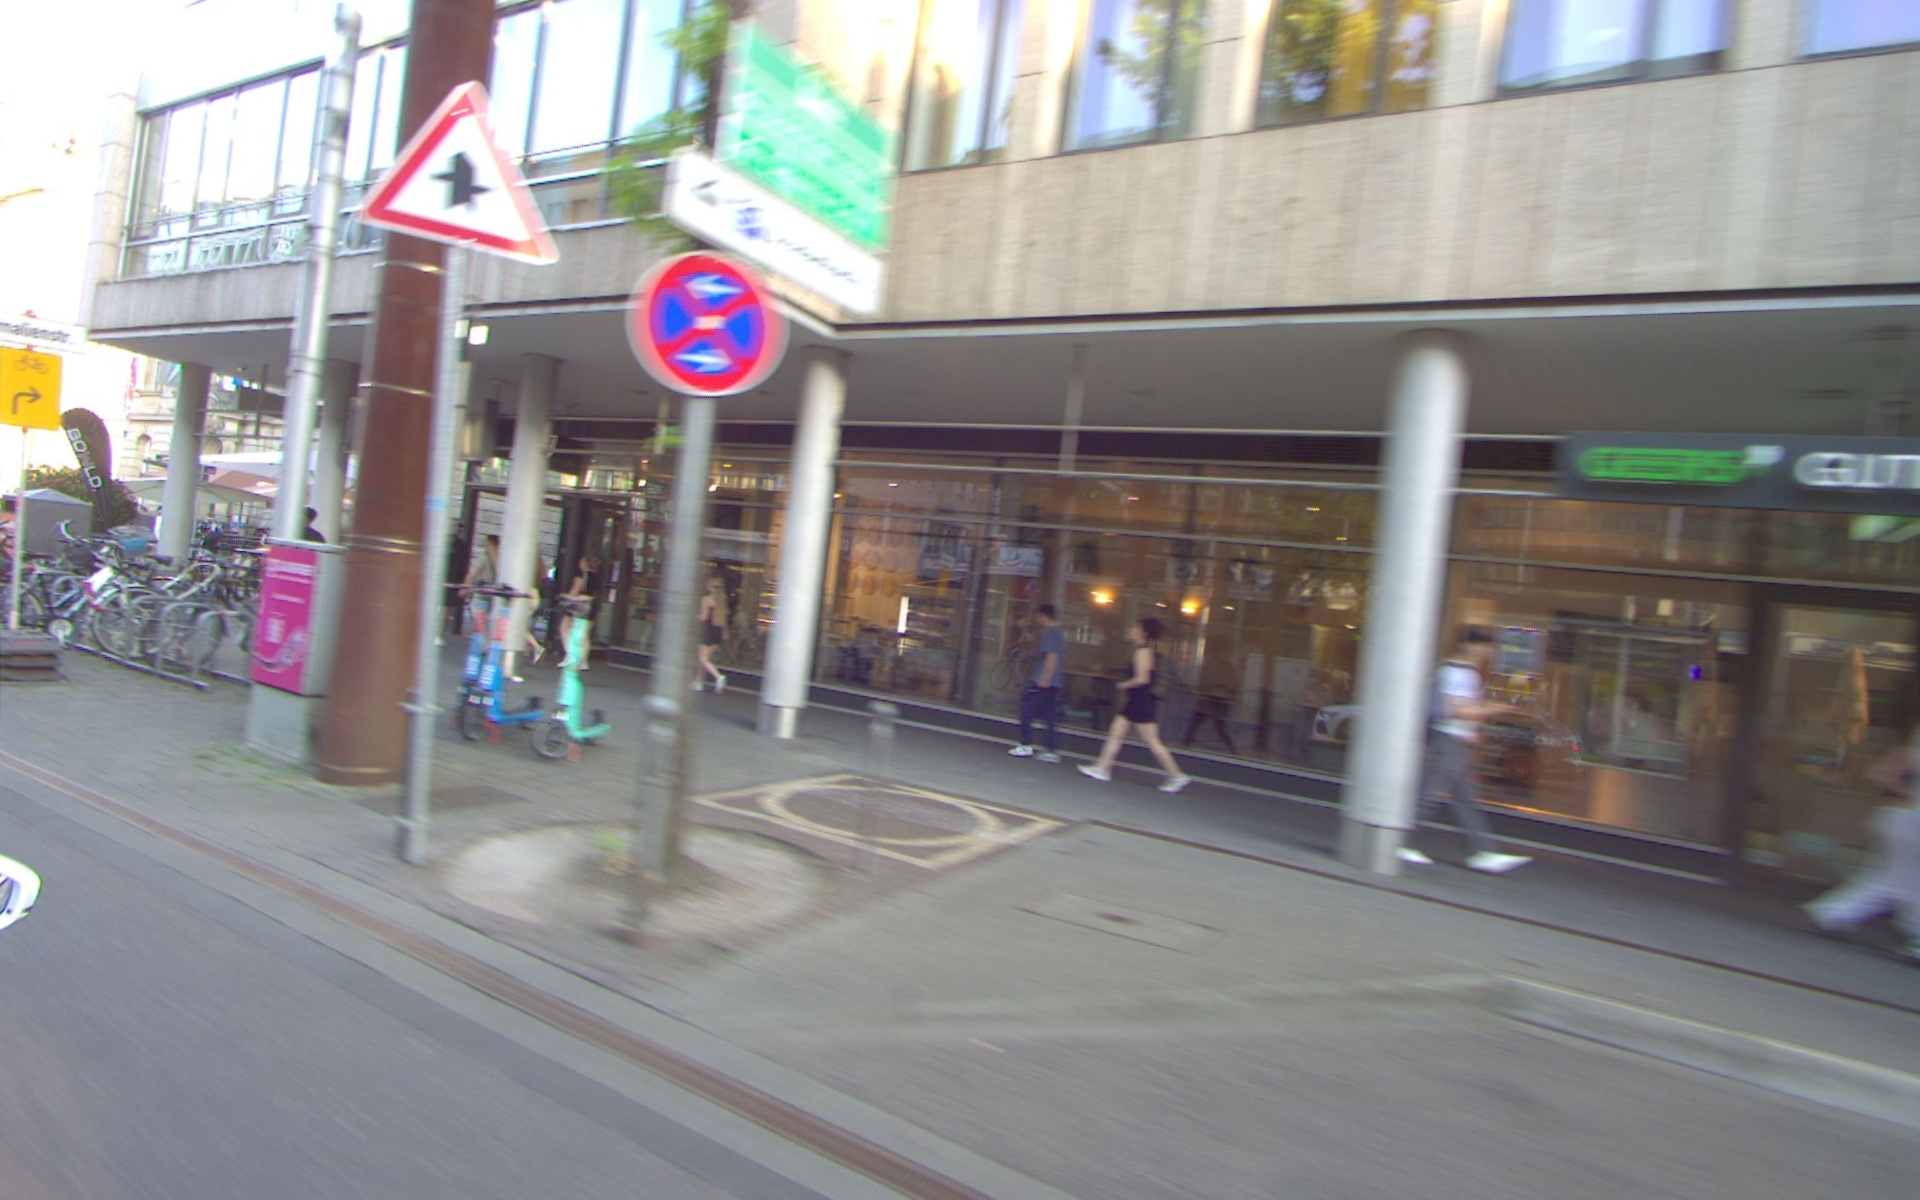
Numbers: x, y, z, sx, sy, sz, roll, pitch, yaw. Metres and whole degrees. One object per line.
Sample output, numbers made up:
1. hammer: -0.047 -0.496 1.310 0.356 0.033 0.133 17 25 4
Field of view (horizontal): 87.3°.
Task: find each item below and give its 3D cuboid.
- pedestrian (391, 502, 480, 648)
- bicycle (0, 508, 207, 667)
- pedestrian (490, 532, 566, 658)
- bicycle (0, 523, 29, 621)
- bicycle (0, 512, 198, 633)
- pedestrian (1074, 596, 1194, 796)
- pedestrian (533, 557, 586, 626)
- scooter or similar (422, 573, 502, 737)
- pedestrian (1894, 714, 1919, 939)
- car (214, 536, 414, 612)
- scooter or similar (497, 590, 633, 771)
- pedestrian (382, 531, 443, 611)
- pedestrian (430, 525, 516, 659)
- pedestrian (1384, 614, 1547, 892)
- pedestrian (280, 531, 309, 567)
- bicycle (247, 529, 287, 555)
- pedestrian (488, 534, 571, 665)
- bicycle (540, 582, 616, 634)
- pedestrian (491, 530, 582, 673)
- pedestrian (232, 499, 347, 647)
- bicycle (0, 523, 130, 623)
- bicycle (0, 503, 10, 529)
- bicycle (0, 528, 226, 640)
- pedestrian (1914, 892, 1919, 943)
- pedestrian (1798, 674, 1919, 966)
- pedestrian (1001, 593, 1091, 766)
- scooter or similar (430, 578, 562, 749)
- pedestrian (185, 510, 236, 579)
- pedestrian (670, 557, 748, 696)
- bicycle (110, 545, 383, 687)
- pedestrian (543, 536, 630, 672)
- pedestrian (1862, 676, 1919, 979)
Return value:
1. pedestrian: -7.775 -0.359 14.914 0.769 2.039 0.687 7 1 30
2. bicycle: -8.297 -0.112 9.322 0.712 1.350 1.919 7 1 25
3. pedestrian: -6.773 -0.076 15.770 0.708 1.871 0.663 7 1 35
4. bicycle: -11.883 -0.393 11.348 0.655 1.122 1.856 7 0 27
5. bicycle: -10.108 -0.298 11.587 0.749 1.238 1.919 7 1 25
6. pedestrian: 1.704 0.913 9.822 0.760 1.794 0.774 7 0 29
7. pedestrian: -11.809 -0.243 29.688 0.858 1.862 0.867 10 1 24
8. scooter or similar: -4.245 0.432 8.629 0.388 1.267 1.185 7 1 -22
9. pedestrian: 7.653 1.616 7.449 0.760 1.906 0.688 7 1 29
10. car: -17.001 -0.649 26.691 1.745 1.425 4.050 6 -3 28
11. scooter or similar: -3.069 0.591 7.913 0.488 1.267 1.115 7 1 0
12. pedestrian: -13.944 -0.732 25.629 0.859 1.860 0.806 7 -2 29
13. pedestrian: -6.983 -0.106 14.432 0.707 1.809 0.664 7 1 30
14. pedestrian: 3.780 1.097 7.528 0.865 1.862 0.669 7 1 30
15. pedestrian: -26.988 -2.073 40.811 0.571 1.324 0.594 10 0 25
16. bicycle: -29.820 -2.492 43.282 0.403 0.905 1.321 8 0 25
17. pedestrian: -6.311 -0.002 14.760 0.707 1.809 0.664 7 1 30
18. bicycle: -9.738 0.224 25.702 0.537 1.130 1.811 5 -2 28
19. pedestrian: -5.656 0.034 13.458 0.707 1.809 0.664 7 1 30
20. pedestrian: -8.497 -0.331 12.750 0.908 1.740 0.764 6 0 31
21. bicycle: -11.492 -0.350 12.328 0.655 1.122 1.856 7 0 27
22. bicycle: -34.277 -3.007 35.807 0.983 0.878 0.316 7 1 29
23. bicycle: -9.487 -0.143 11.219 0.749 1.091 1.919 7 1 25
24. pedestrian: 7.269 1.620 6.903 0.760 1.774 0.583 7 1 29
25. pedestrian: 6.242 1.449 6.815 0.594 1.828 0.540 7 1 29
26. pedestrian: 0.933 0.847 10.891 0.606 1.753 0.571 7 1 29
27. scooter or similar: -3.779 0.493 8.283 0.386 1.267 1.191 7 1 1
28. pedestrian: -21.711 -1.599 29.150 0.793 1.845 0.809 8 1 34
29. pedestrian: -3.343 0.359 13.403 0.606 1.753 0.571 7 1 29
30. bicycle: -6.798 0.174 9.726 0.712 1.170 2.000 7 1 25
31. pedestrian: -5.221 0.064 14.073 0.707 1.809 0.664 7 1 30
32. pedestrian: 6.175 1.416 6.229 0.594 1.828 0.540 7 1 29
